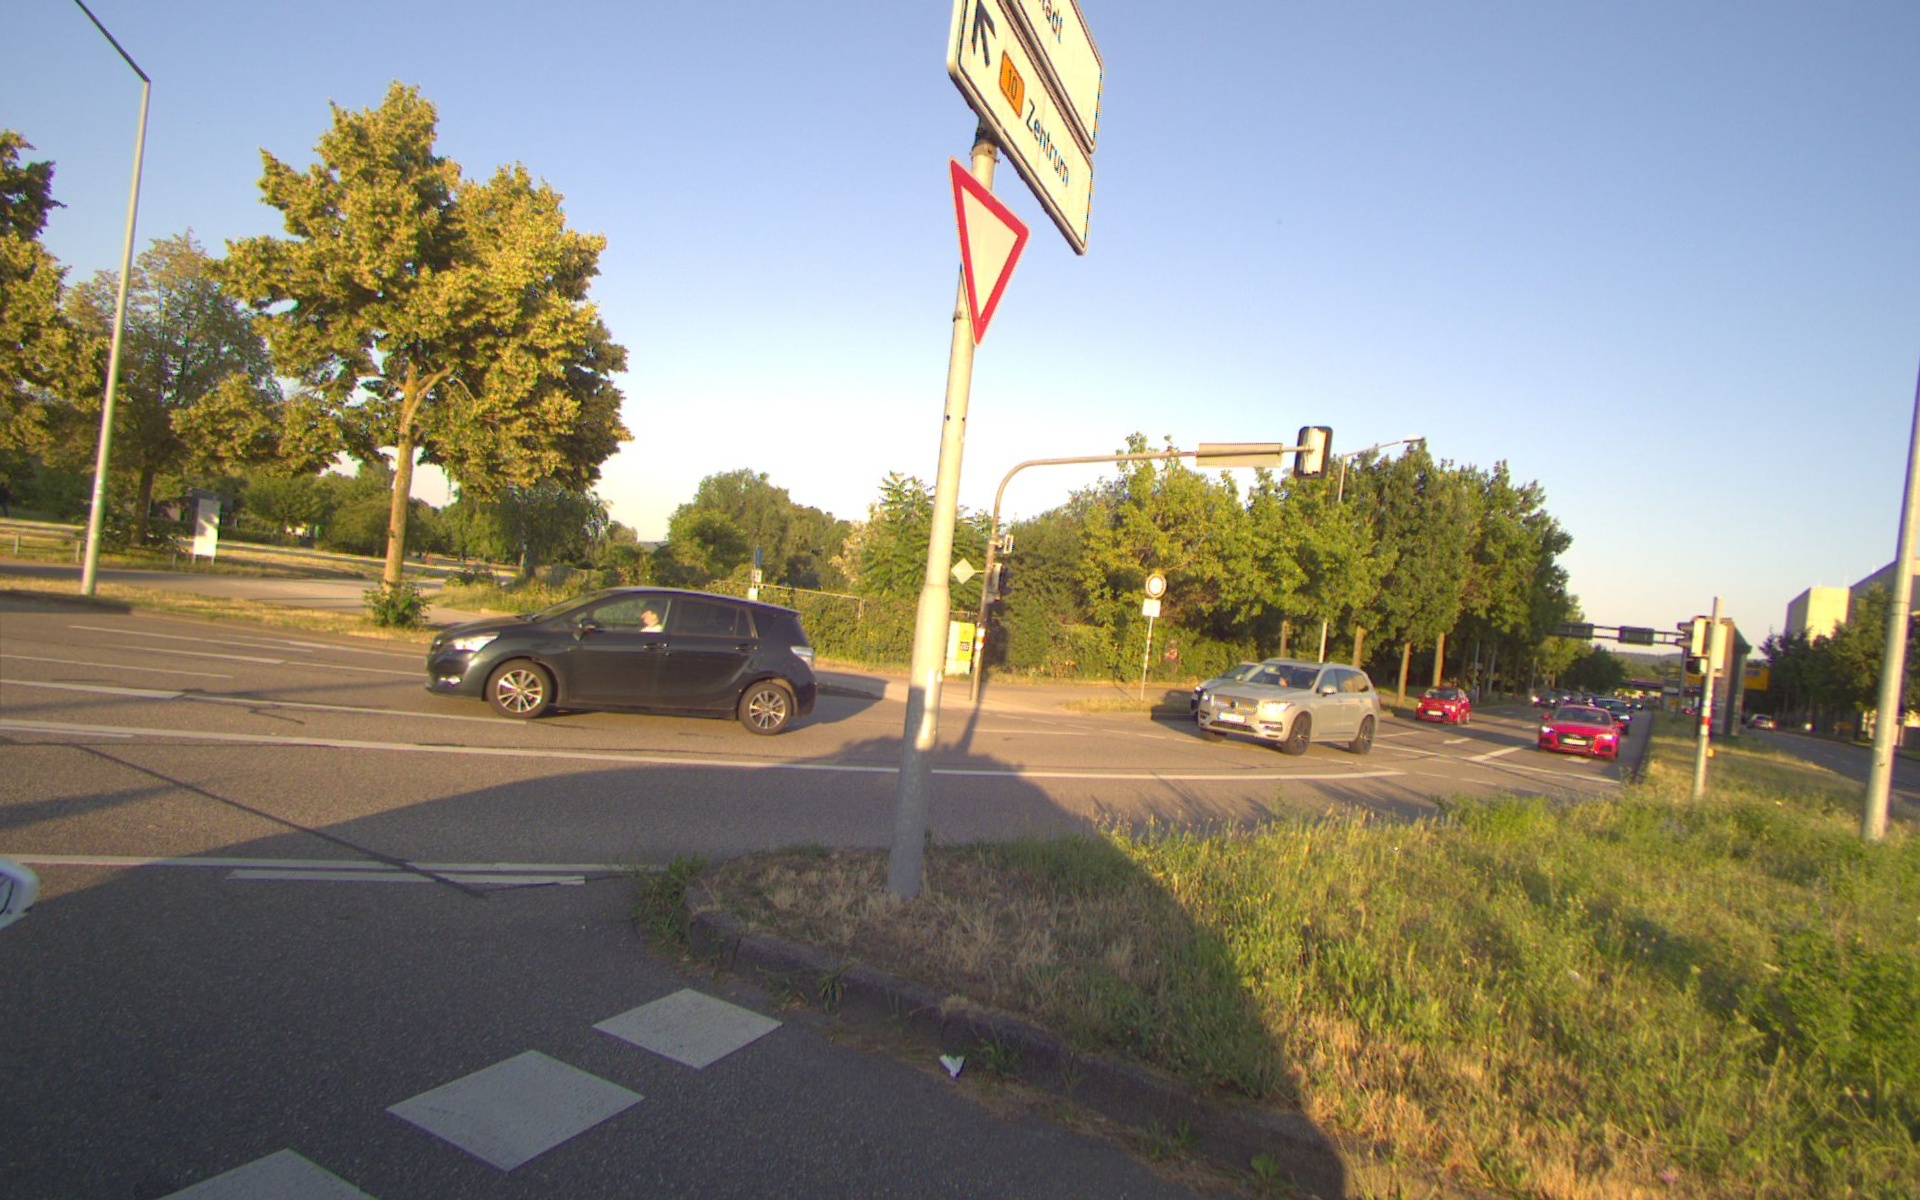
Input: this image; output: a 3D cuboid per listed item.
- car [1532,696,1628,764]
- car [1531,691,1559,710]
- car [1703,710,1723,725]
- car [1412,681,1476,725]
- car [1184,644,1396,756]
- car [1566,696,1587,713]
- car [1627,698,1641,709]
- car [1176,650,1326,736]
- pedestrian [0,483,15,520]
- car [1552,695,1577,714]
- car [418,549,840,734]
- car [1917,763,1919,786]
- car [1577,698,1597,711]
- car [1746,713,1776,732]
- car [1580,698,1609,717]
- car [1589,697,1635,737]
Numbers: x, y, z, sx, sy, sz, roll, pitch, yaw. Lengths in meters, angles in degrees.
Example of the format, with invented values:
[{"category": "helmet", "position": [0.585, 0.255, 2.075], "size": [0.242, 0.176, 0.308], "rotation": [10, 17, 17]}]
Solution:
[{"category": "car", "position": [17.584, 3.645, 28.437], "size": [1.817, 1.477, 4.568], "rotation": [7, -1, 36]}, {"category": "car", "position": [48.116, 8.277, 82.731], "size": [1.594, 1.324, 3.707], "rotation": [5, -2, 35]}, {"category": "car", "position": [98.329, 15.321, 131.415], "size": [1.790, 1.543, 4.122], "rotation": [7, 0, 36]}, {"category": "car", "position": [19.863, 4.239, 41.236], "size": [1.700, 1.500, 3.623], "rotation": [5, -2, 35]}, {"category": "car", "position": [6.570, 2.004, 19.682], "size": [1.898, 1.775, 4.896], "rotation": [5, -2, 44]}, {"category": "car", "position": [66.095, 11.208, 107.813], "size": [1.594, 1.536, 3.707], "rotation": [5, -2, 35]}, {"category": "car", "position": [102.402, 15.776, 152.930], "size": [1.594, 1.471, 3.707], "rotation": [5, -2, 35]}, {"category": "car", "position": [7.416, 2.373, 25.286], "size": [1.884, 1.730, 4.927], "rotation": [7, -1, 36]}, {"category": "pedestrian", "position": [-45.248, -4.673, 47.505], "size": [0.520, 1.646, 0.620], "rotation": [7, 0, 2]}, {"category": "car", "position": [56.606, 9.777, 94.162], "size": [1.594, 1.536, 3.707], "rotation": [5, -2, 35]}, {"category": "car", "position": [-3.884, 0.539, 12.040], "size": [4.408, 1.652, 1.790], "rotation": [8, -2, -30]}, {"category": "car", "position": [34.040, 5.862, 33.873], "size": [1.774, 1.440, 4.437], "rotation": [7, 0, 34]}, {"category": "car", "position": [77.252, 12.910, 123.894], "size": [1.847, 1.324, 4.128], "rotation": [5, -2, 35]}, {"category": "car", "position": [73.263, 11.215, 91.985], "size": [1.727, 1.441, 4.114], "rotation": [7, 0, 42]}, {"category": "car", "position": [55.058, 9.325, 87.213], "size": [1.847, 1.324, 4.128], "rotation": [5, -2, 35]}, {"category": "car", "position": [31.852, 5.697, 49.093], "size": [1.695, 1.631, 4.127], "rotation": [5, -2, 34]}]
